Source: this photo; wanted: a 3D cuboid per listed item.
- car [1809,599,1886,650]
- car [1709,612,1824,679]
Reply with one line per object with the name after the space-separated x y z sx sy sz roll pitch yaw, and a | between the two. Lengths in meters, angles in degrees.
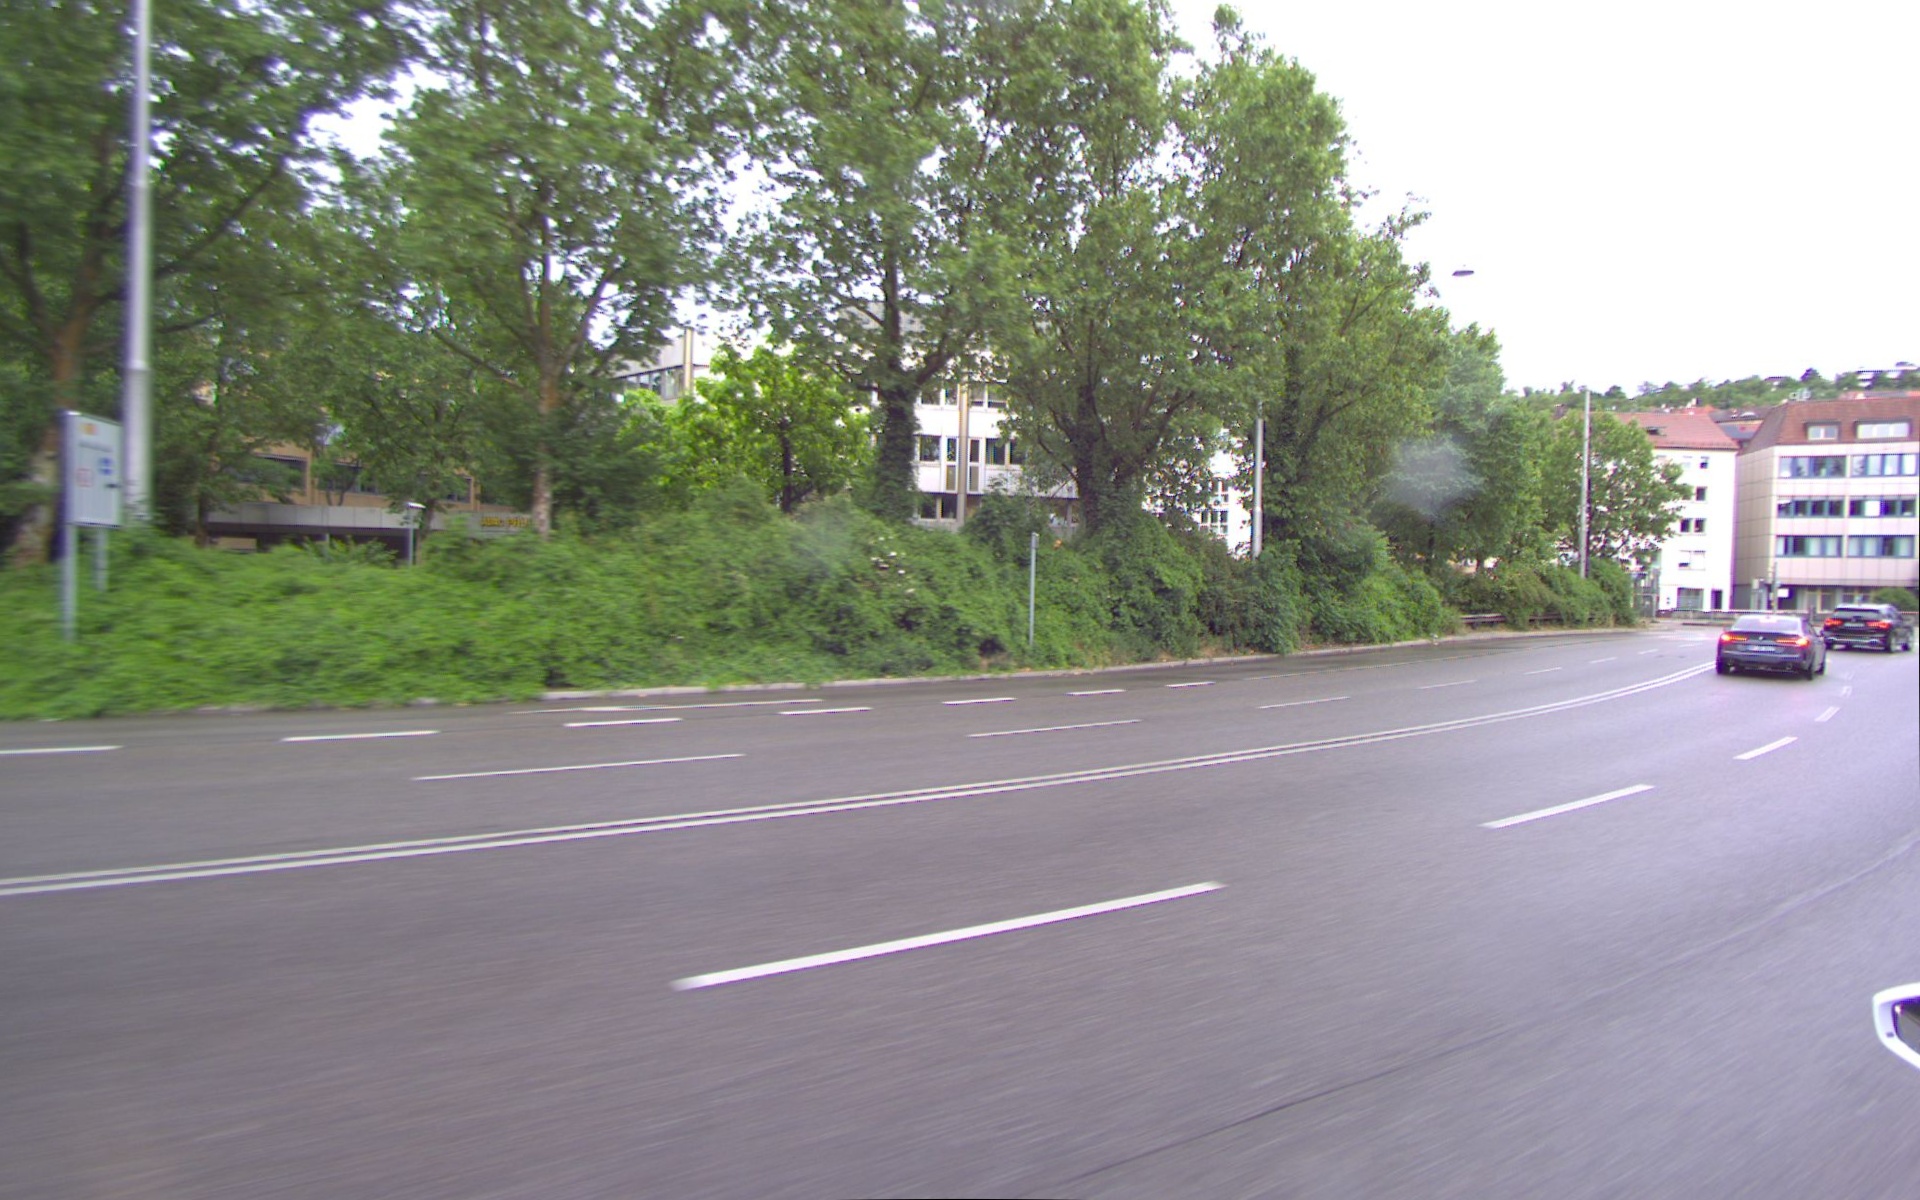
31.844 0.860 36.012 1.880 1.716 3.976 1 0 44 | car
19.647 1.048 24.401 1.772 1.445 4.357 1 0 44 | car
